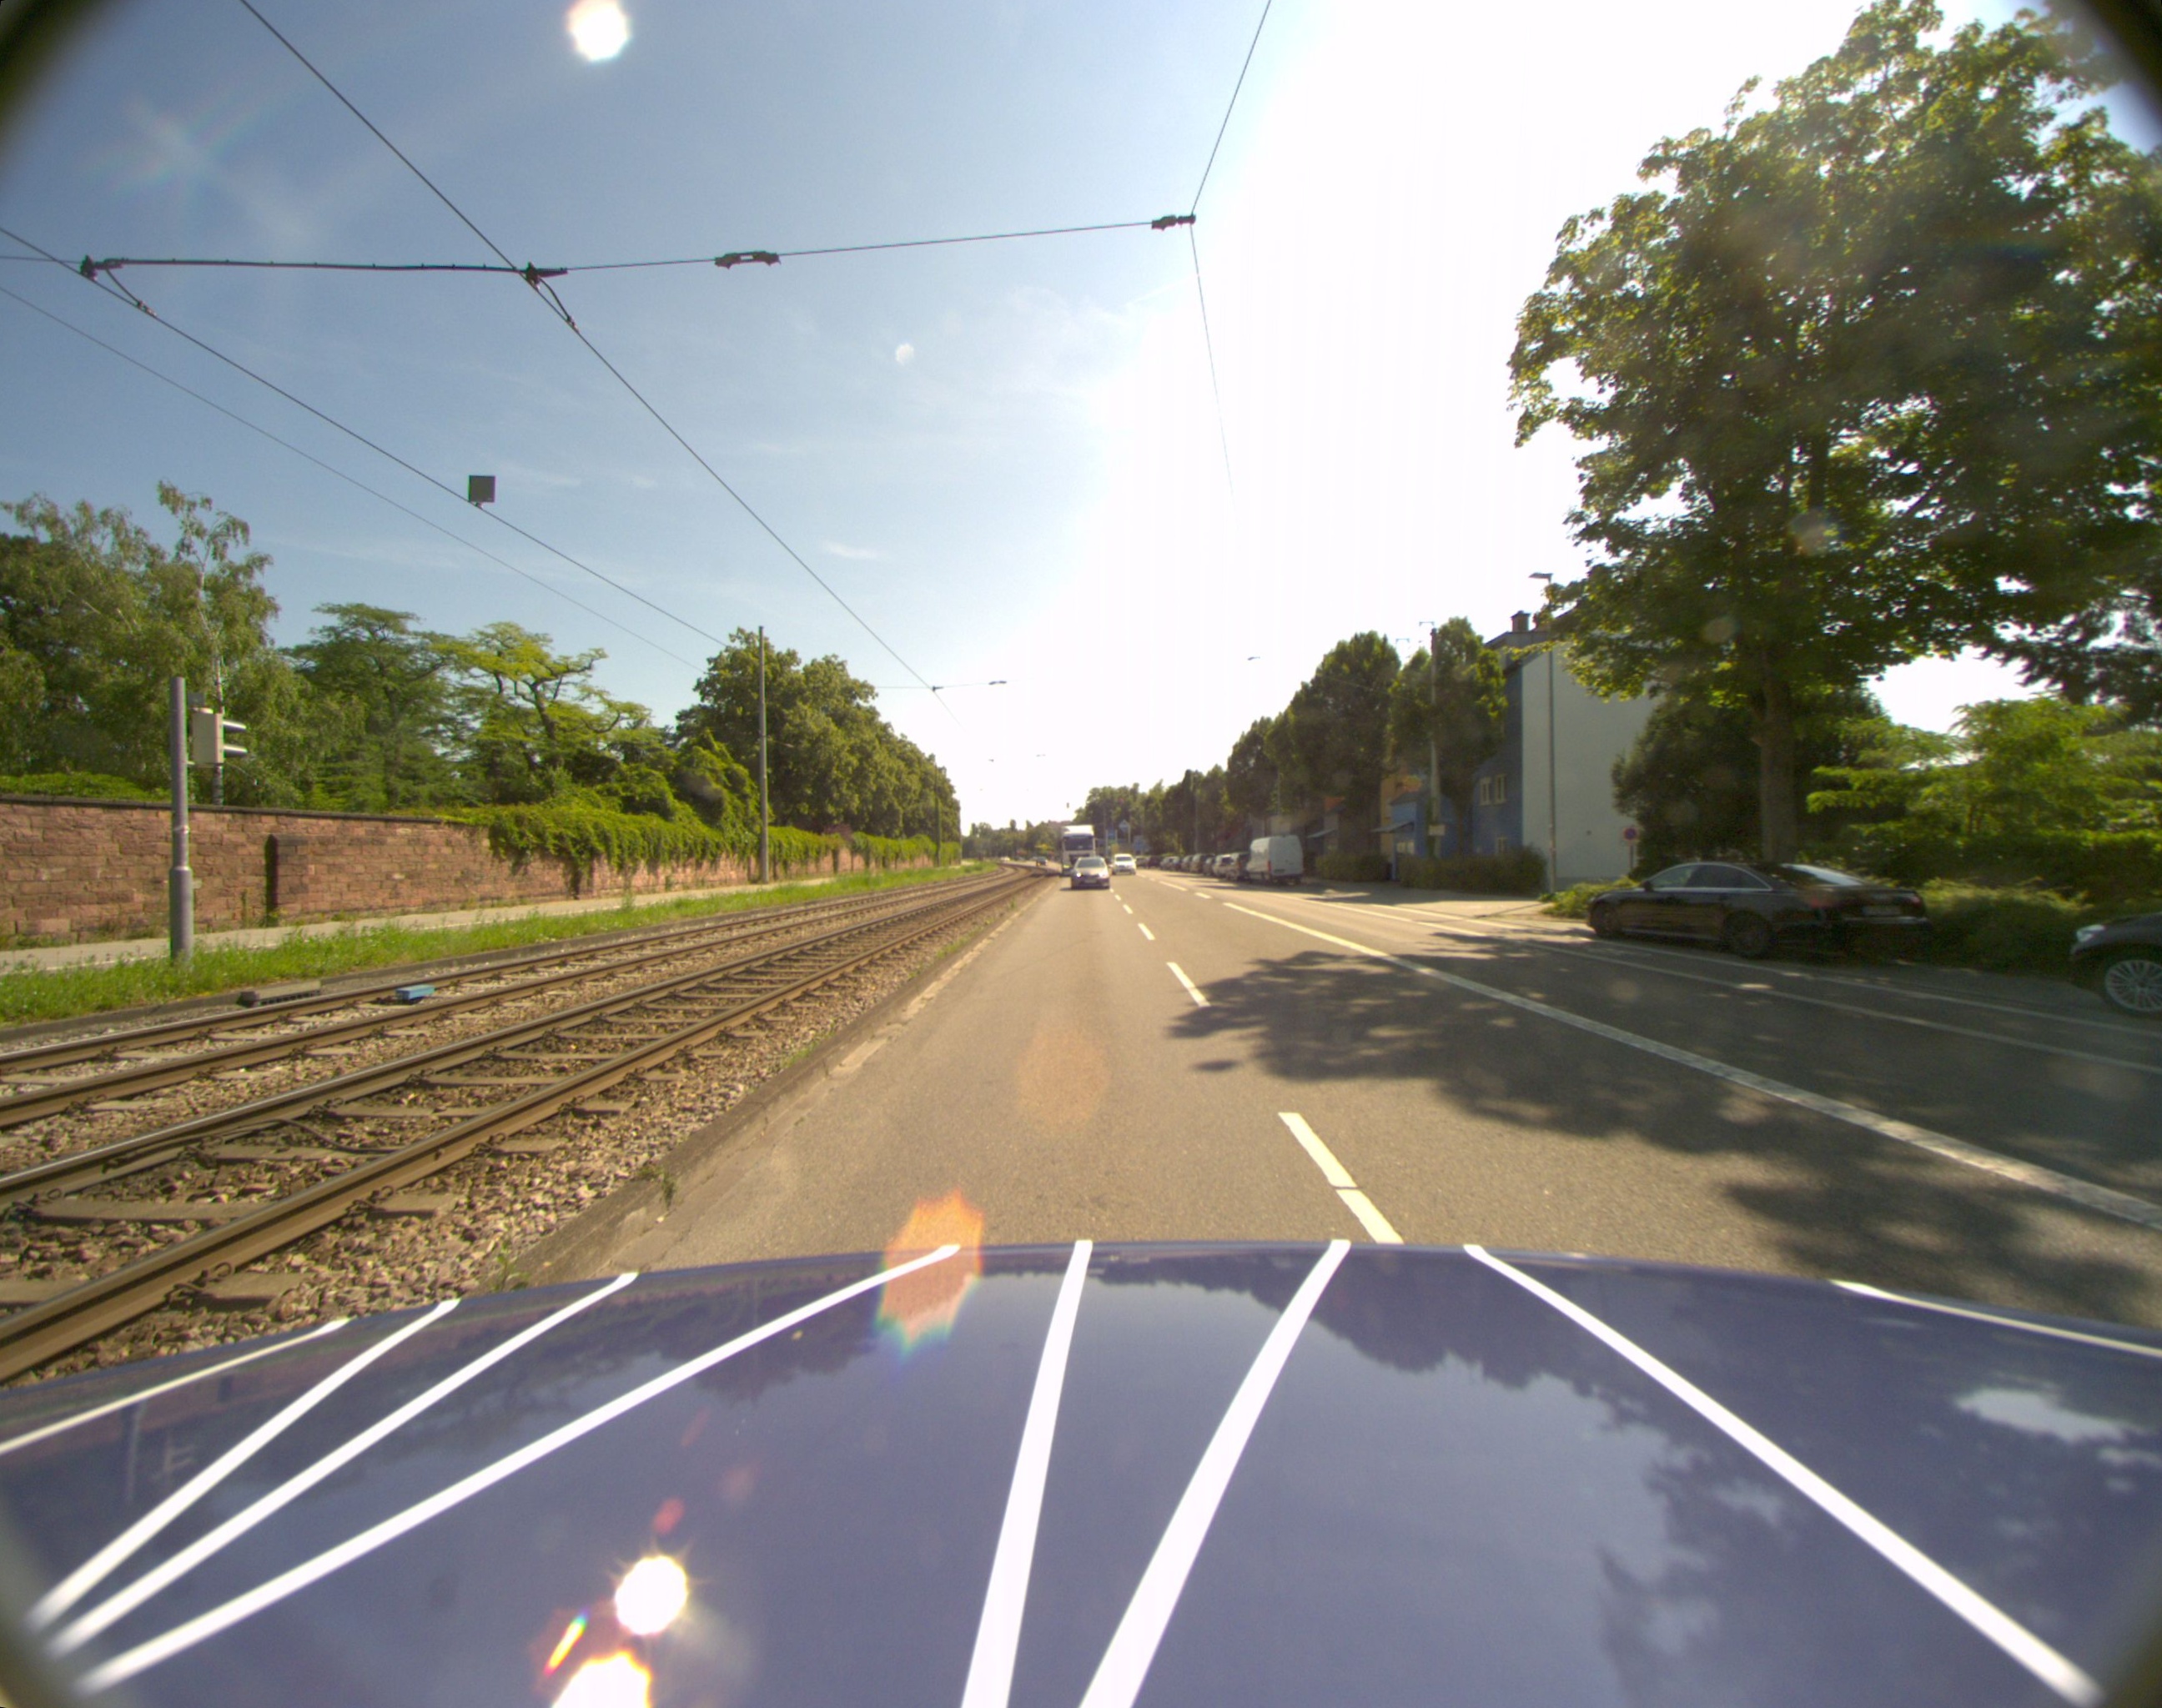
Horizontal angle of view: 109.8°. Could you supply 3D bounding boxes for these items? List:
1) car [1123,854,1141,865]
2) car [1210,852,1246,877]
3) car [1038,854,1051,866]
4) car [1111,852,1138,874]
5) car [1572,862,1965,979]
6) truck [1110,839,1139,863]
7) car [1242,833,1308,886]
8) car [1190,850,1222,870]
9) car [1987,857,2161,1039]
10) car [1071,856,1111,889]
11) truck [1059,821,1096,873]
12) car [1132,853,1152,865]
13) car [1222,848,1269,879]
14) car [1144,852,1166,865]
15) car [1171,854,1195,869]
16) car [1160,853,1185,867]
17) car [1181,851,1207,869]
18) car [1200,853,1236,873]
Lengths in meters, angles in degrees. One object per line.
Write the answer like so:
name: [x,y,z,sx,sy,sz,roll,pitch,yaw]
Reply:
car: [7.365,0.781,109.410,1.915,1.469,4.213,-2,1,-6]
car: [11.006,0.737,57.197,1.853,1.693,4.540,-4,1,1]
car: [-5.893,0.919,121.564,1.854,1.707,3.998,-2,1,-5]
car: [3.332,0.672,59.227,1.784,1.538,4.394,-2,0,0]
car: [10.615,0.895,12.423,1.845,1.457,4.908,0,0,-3]
truck: [6.637,-0.514,117.067,3.165,3.533,8.779,0,0,-6]
car: [10.995,0.278,43.602,1.998,2.661,7.086,-4,0,1]
car: [11.117,0.505,67.661,1.834,1.718,4.348,-3,1,-3]
car: [10.558,0.849,5.682,1.766,1.596,4.893,-1,0,0]
car: [0.465,0.827,36.223,1.747,1.421,5.041,-1,0,1]
truck: [-0.194,-0.515,63.354,2.805,3.926,11.943,0,0,1]
car: [8.387,0.686,105.011,2.040,1.490,4.130,-2,1,-6]
car: [11.128,0.639,51.703,1.998,1.855,4.966,-5,0,1]
car: [9.433,0.526,97.149,1.911,1.567,4.929,-2,1,-6]
car: [10.600,0.725,79.053,1.681,1.462,4.212,-2,1,-4]
car: [10.305,0.637,85.725,1.682,1.437,4.835,-2,1,-6]
car: [10.785,0.529,72.716,1.681,1.598,4.164,-2,1,-3]
car: [11.206,0.714,62.383,1.871,1.447,4.074,-4,1,-3]
